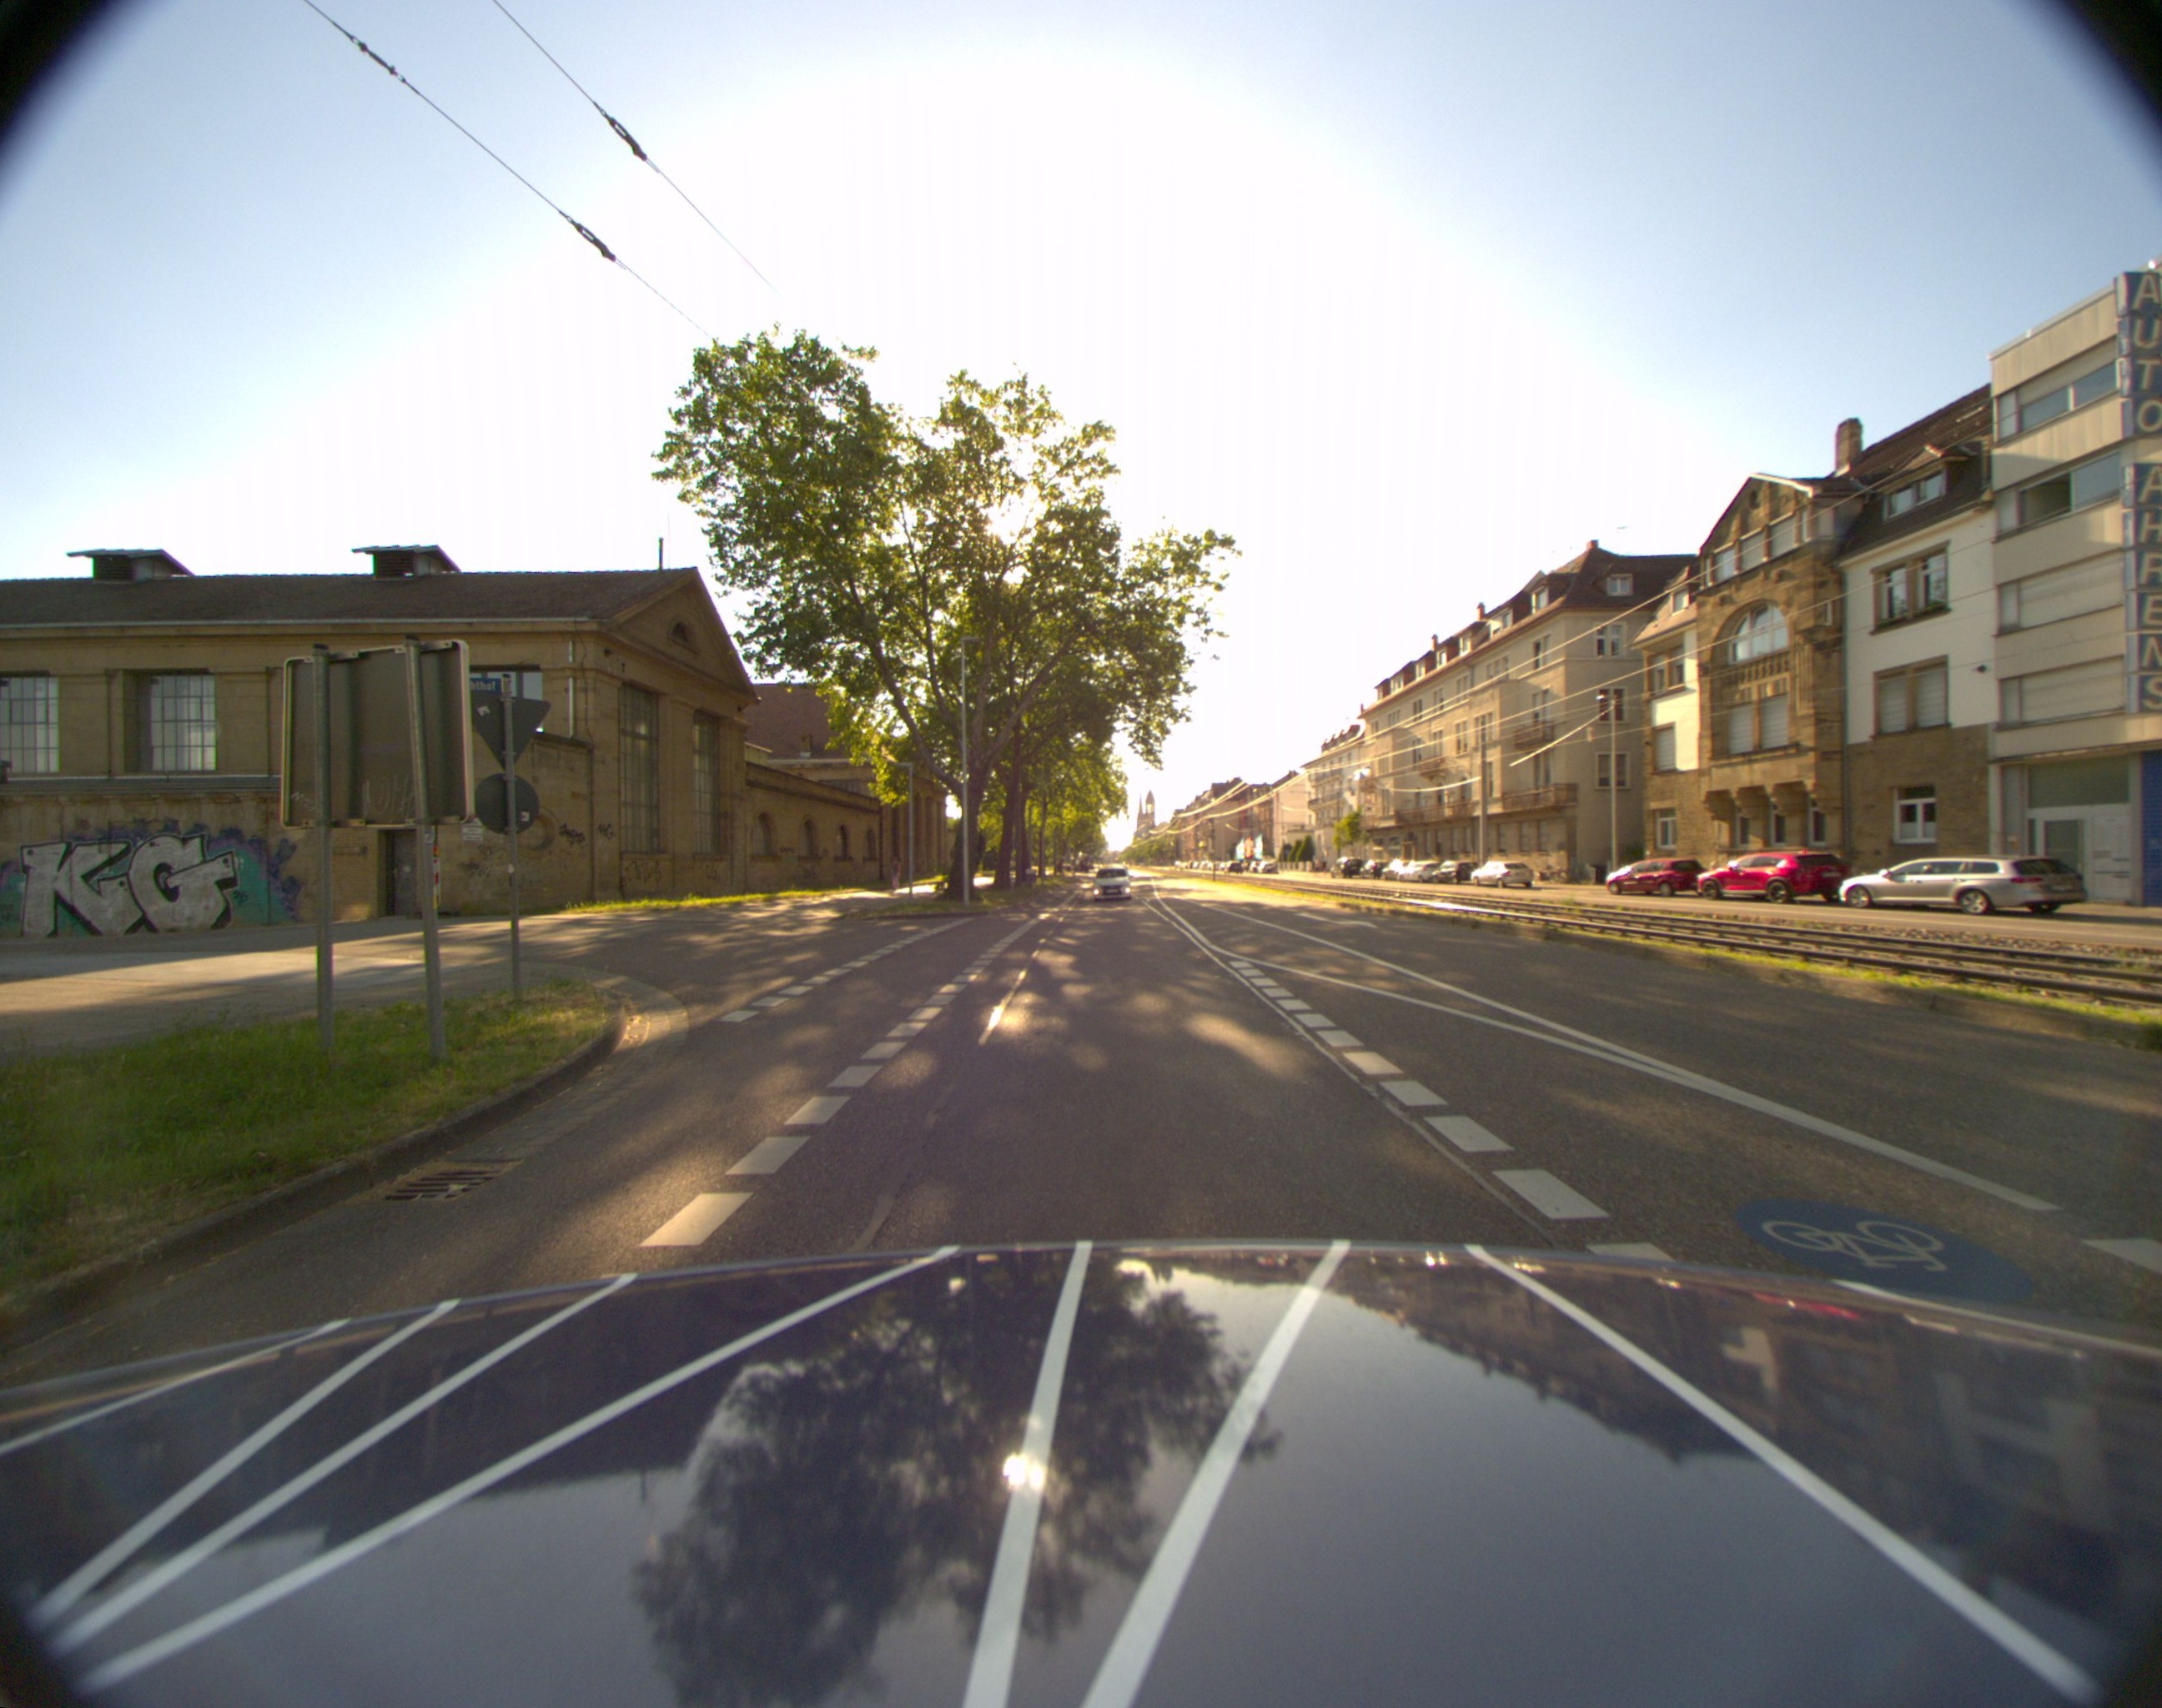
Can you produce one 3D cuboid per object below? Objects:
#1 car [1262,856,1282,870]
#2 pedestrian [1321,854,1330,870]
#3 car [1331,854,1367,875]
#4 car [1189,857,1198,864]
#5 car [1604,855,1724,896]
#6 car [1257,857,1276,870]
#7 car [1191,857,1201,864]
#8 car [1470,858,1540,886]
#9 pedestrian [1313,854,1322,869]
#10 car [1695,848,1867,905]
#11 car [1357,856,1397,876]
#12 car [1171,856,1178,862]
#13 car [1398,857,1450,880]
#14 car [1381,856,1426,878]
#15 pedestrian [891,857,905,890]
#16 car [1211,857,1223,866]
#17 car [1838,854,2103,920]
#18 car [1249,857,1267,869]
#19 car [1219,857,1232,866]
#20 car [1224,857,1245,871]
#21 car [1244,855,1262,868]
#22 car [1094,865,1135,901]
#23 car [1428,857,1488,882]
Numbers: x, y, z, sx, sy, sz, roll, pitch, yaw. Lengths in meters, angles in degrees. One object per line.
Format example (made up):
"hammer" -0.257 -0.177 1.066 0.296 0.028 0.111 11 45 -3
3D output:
"car" 23.842 1.150 94.853 1.677 1.622 3.408 -2 0 1
"pedestrian" 27.555 0.852 85.656 0.725 1.779 0.678 0 0 0
"car" 24.067 0.922 68.431 1.875 1.726 3.916 -2 0 1
"car" 25.874 1.402 175.352 1.624 1.581 3.450 -2 0 1
"car" 23.397 0.836 30.665 1.756 1.487 3.729 -2 0 -5
"car" 24.468 1.229 100.070 1.684 1.562 3.389 -2 0 1
"car" 25.795 1.427 170.262 1.624 1.581 3.450 -2 0 1
"car" 23.661 0.968 42.533 1.802 1.470 3.823 -2 0 1
"pedestrian" 26.672 0.849 85.674 0.725 1.779 0.678 0 0 0
"car" 23.228 0.709 25.483 1.860 1.677 4.264 -2 0 2
"car" 24.447 0.976 62.899 1.802 1.470 3.823 -2 0 1
"car" 27.021 1.457 220.437 1.624 1.581 3.450 -2 0 1
"car" 23.474 0.984 52.059 1.642 1.438 3.538 -2 0 -6
"car" 24.118 0.949 56.962 1.802 1.470 3.823 -2 0 1
"pedestrian" -9.371 0.972 38.842 0.673 1.652 0.873 0 0 -12
"car" 25.124 1.429 140.285 1.624 1.581 3.450 -2 0 1
"car" 23.178 0.793 20.129 1.861 1.490 4.382 -2 0 0
"car" 24.525 1.239 105.497 1.684 1.562 3.389 -2 0 1
"car" 24.845 1.299 130.925 1.624 1.581 3.450 -2 0 1
"car" 19.181 1.241 95.086 1.822 1.674 4.001 0 0 1
"car" 25.024 1.047 110.647 1.727 1.776 3.881 -2 0 1
"car" 1.476 1.245 34.333 1.686 1.462 4.056 -2 -1 2
"car" 23.707 0.958 47.913 1.802 1.422 3.823 -2 0 -1
